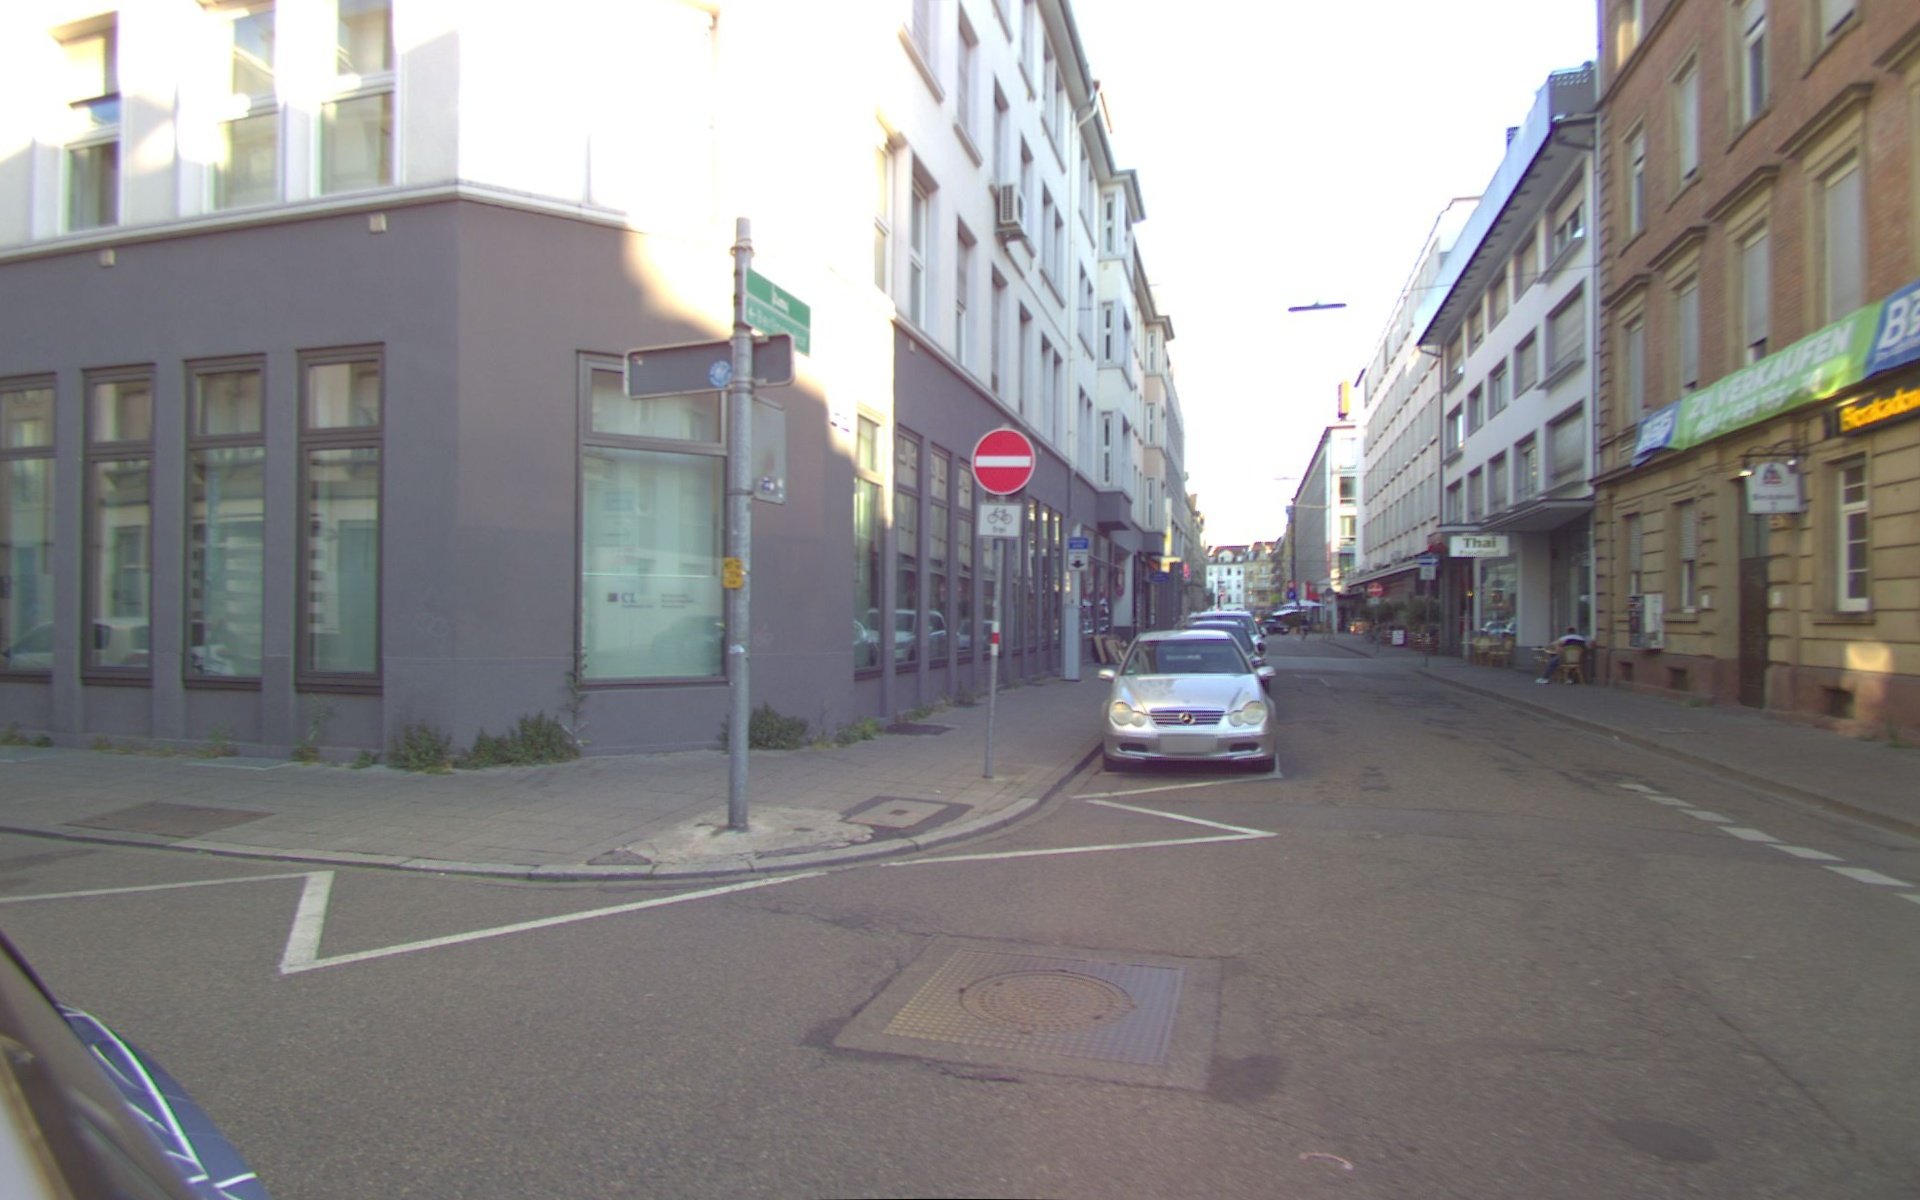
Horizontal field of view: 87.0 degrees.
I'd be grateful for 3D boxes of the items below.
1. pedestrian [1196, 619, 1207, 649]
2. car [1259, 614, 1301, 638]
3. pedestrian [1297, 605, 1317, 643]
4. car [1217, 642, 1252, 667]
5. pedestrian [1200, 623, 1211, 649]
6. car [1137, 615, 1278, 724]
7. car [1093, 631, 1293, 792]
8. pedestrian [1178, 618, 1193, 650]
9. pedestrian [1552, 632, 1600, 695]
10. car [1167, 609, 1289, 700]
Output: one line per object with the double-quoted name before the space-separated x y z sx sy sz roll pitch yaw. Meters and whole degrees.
"pedestrian" 17.048 2.386 71.525 0.719 2.107 0.802 0 -2 10
"car" 28.038 2.252 88.767 1.968 2.029 4.007 0 -1 -8
"pedestrian" 23.895 1.653 69.746 1.237 2.634 1.459 0 -1 16
"car" 12.865 2.513 47.366 1.502 1.067 3.448 0 -2 17
"pedestrian" 16.998 2.514 70.102 0.704 1.775 0.883 0 -2 10
"car" 4.157 1.046 16.680 1.997 1.536 4.095 0 -2 17
"car" 2.640 1.070 11.345 1.740 1.412 4.467 -1 -2 14
"pedestrian" 15.790 2.384 70.840 1.021 2.191 0.883 0 -2 10
"pedestrian" 13.688 1.396 22.476 0.837 1.349 0.795 0 -1 37
"car" 5.902 1.114 22.121 2.317 1.757 4.462 0 -2 17
